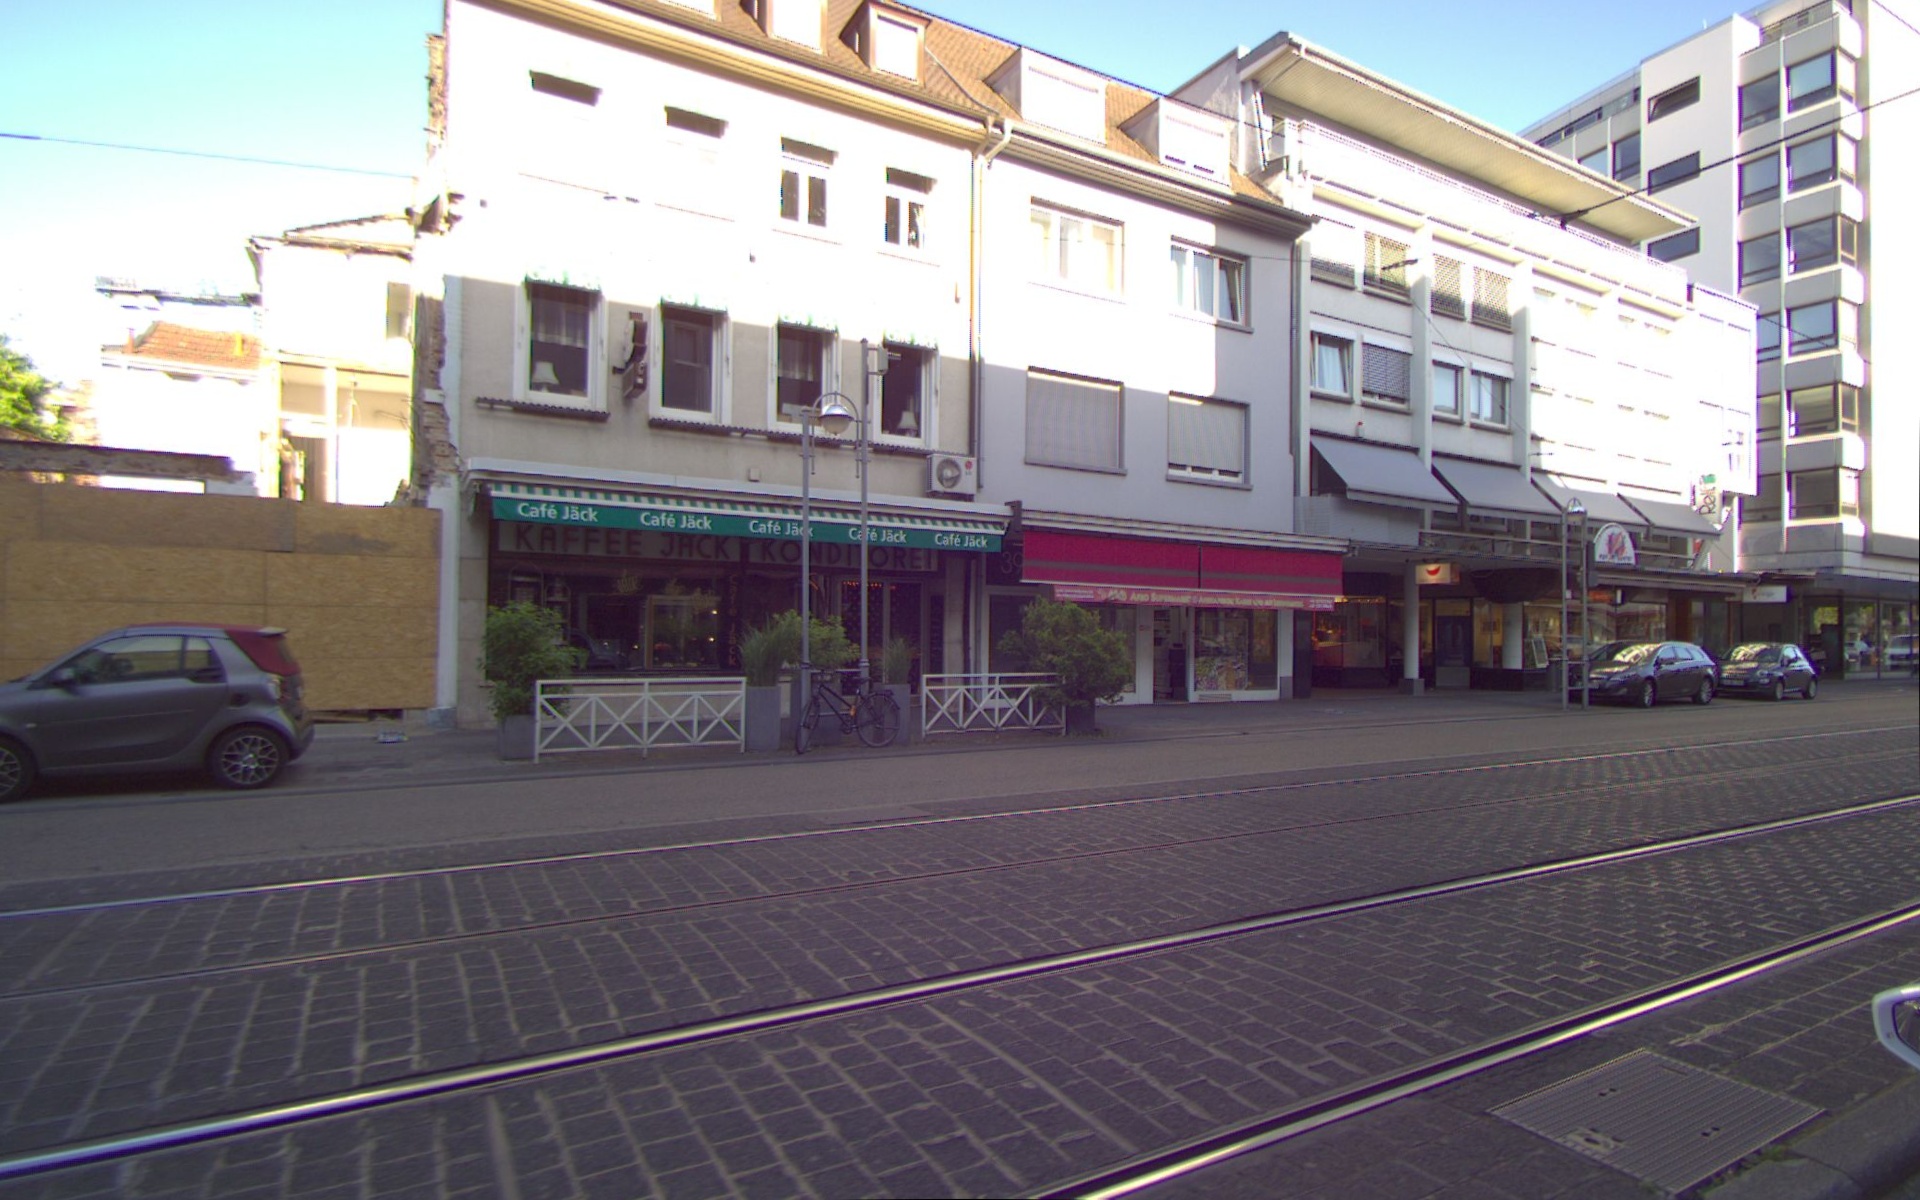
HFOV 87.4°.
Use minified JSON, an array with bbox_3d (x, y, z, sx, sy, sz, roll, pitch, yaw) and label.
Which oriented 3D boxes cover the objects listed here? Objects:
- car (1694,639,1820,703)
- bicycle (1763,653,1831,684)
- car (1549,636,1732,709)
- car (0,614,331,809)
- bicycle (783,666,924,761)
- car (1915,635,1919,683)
[{"bbox_3d":[21.496,1.882,27.064,3.551,1.544,1.591,2,0,-33],"label":"car"},{"bbox_3d":[31.426,2.558,37.748,0.376,1.012,1.928,2,0,-28],"label":"bicycle"},{"bbox_3d":[16.526,1.720,24.332,4.794,1.544,1.729,2,0,-30],"label":"car"},{"bbox_3d":[-7.859,0.990,9.758,2.857,1.625,1.689,2,0,-30],"label":"car"},{"bbox_3d":[-1.337,1.418,12.782,1.696,1.105,0.516,2,0,-30],"label":"bicycle"},{"bbox_3d":[36.445,2.179,36.012,4.600,1.701,1.969,2,0,-30],"label":"car"}]
